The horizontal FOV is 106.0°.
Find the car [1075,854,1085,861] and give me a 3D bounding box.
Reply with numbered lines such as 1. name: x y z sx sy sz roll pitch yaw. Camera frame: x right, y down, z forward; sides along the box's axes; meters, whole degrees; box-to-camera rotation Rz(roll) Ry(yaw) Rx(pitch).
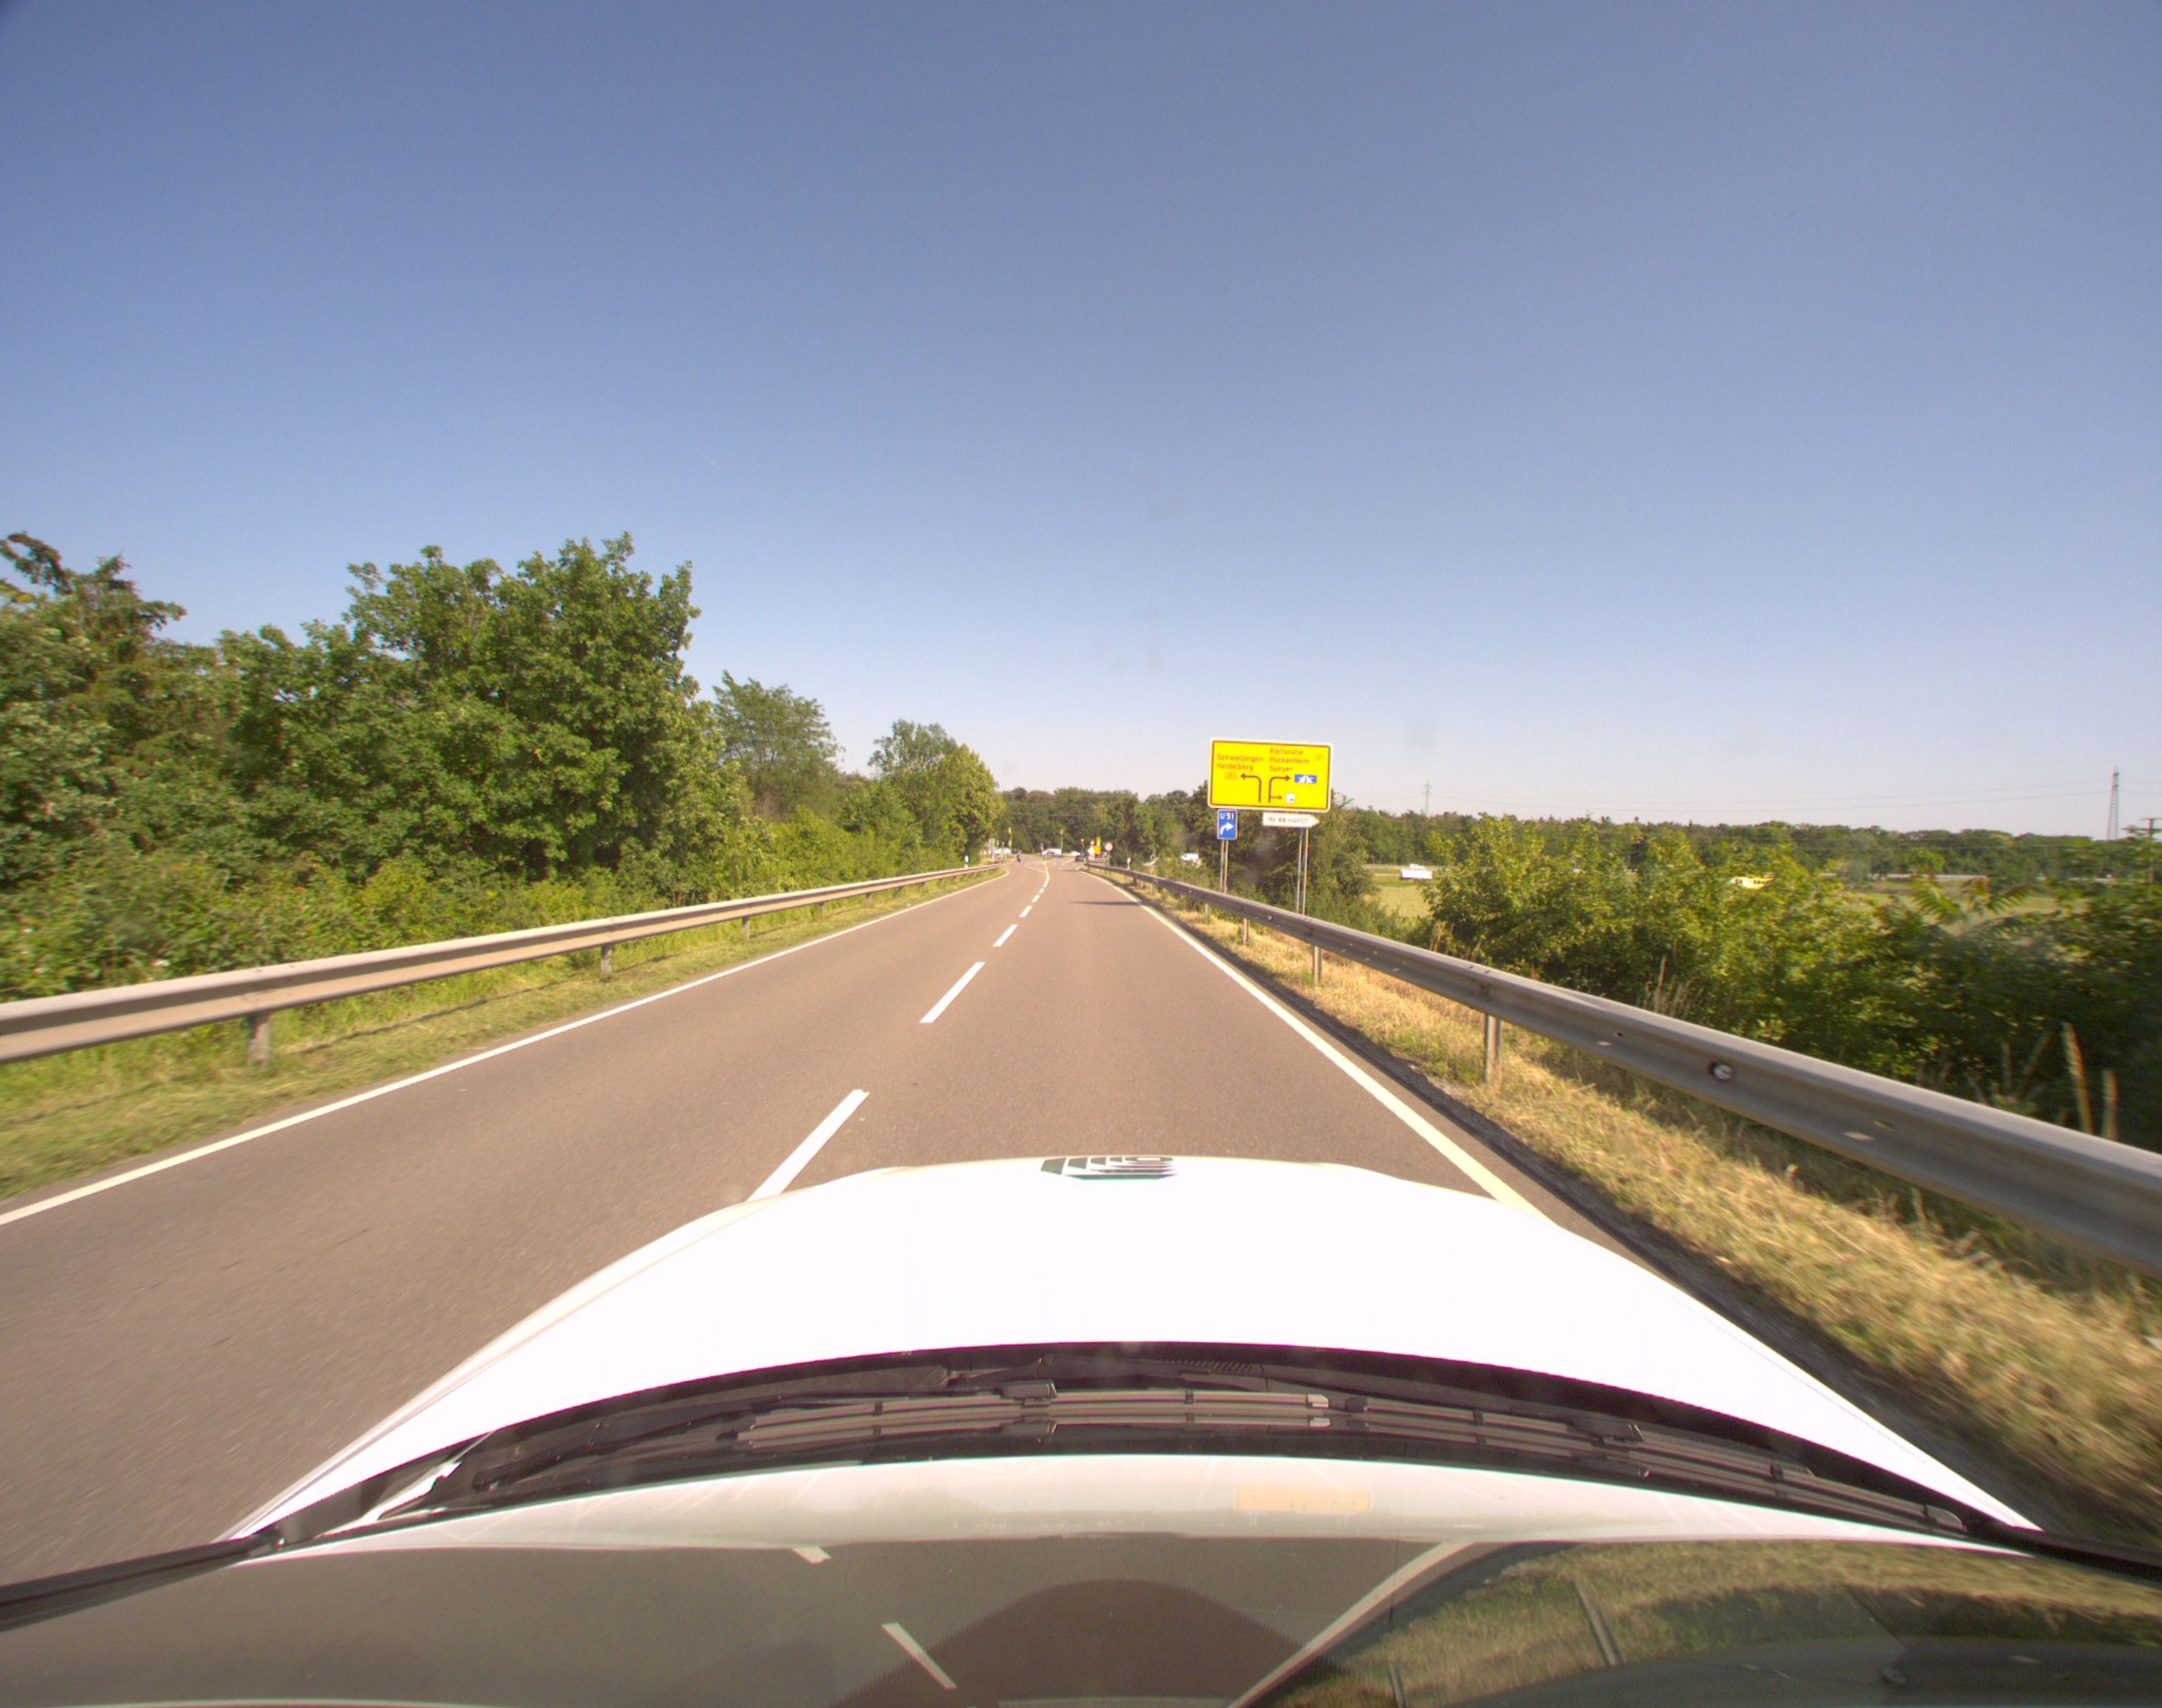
1. car: -0.144 0.773 171.316 1.792 1.398 4.004 -4 0 3

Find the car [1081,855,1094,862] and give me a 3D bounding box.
1. car: 1.472 0.907 178.555 1.786 1.501 4.016 2 0 15

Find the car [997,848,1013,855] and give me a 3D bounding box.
1. car: -19.994 -0.636 214.682 4.005 2.013 1.782 0 0 -24

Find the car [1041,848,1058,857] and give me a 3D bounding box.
1. car: -7.778 -0.360 203.029 3.990 2.013 1.992 0 0 -13
